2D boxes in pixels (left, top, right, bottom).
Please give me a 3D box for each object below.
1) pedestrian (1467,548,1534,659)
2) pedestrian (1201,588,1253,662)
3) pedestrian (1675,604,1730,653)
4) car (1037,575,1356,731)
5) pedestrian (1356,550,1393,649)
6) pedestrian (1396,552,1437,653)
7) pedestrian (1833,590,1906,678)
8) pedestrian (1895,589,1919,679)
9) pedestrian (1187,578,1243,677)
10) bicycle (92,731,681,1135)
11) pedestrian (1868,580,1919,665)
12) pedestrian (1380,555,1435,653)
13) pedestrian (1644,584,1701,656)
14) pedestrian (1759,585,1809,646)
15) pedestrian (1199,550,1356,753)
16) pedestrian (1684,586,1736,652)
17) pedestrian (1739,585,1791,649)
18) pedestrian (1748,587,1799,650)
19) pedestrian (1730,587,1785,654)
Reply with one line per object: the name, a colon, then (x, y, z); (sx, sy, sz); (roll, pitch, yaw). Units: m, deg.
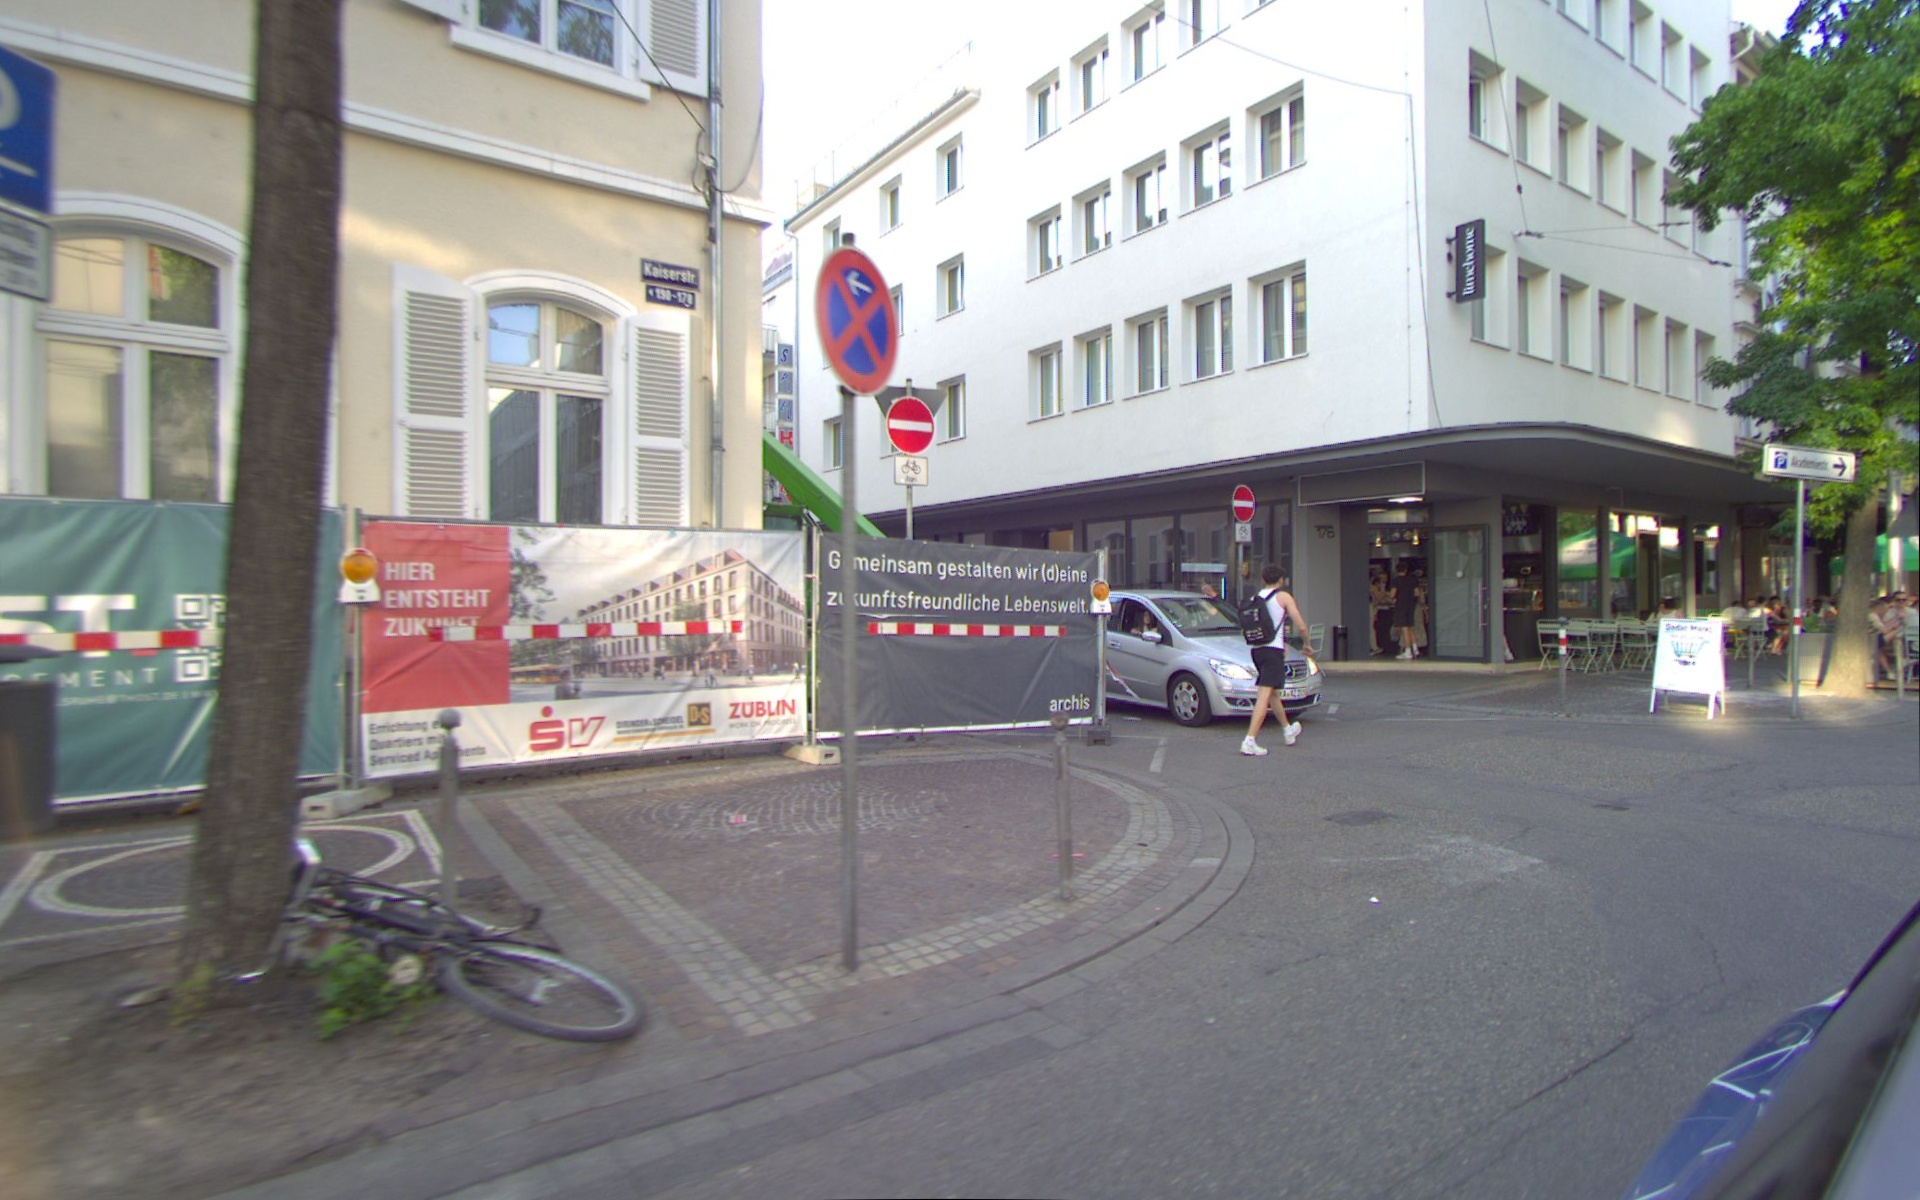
pedestrian: (9.673, 0.053, 18.128); (0.785, 1.934, 0.729); (0, 0, -22)
pedestrian: (4.948, 0.456, 18.789); (0.703, 1.346, 0.624); (0, 0, -34)
pedestrian: (14.745, 0.564, 20.107); (0.612, 0.944, 0.717); (0, 0, -34)
car: (2.844, 0.560, 13.054); (1.829, 1.628, 3.947); (-2, 1, -28)
pedestrian: (8.254, -0.012, 20.139); (0.566, 1.934, 0.715); (0, -1, 33)
pedestrian: (8.944, 0.050, 19.831); (0.717, 1.934, 0.565); (0, -1, 26)
pedestrian: (14.315, 0.512, 15.933); (0.612, 1.346, 0.717); (0, 0, -34)
pedestrian: (14.710, 0.513, 15.301); (0.612, 1.346, 0.717); (0, 0, -34)
pedestrian: (4.379, 0.460, 17.378); (0.702, 1.657, 0.625); (0, 0, -17)
bicycle: (-1.882, 1.042, 3.810); (1.531, 0.757, 1.761); (0, 2, -18)
pedestrian: (15.308, 0.350, 16.426); (0.612, 1.346, 0.717); (0, 0, -34)
pedestrian: (8.304, 0.073, 18.804); (0.702, 1.789, 0.625); (0, 0, -8)
pedestrian: (13.634, 0.366, 19.366); (0.612, 1.346, 0.717); (0, 0, -34)
pedestrian: (18.587, 0.341, 22.832); (0.612, 1.346, 0.717); (0, 0, -34)
pedestrian: (3.100, 0.461, 9.911); (1.049, 1.838, 0.947); (-2, 0, -27)
pedestrian: (15.830, 0.391, 21.374); (0.612, 1.346, 0.717); (0, 0, -34)
pedestrian: (17.220, 0.356, 21.655); (0.612, 1.346, 0.717); (0, 0, -34)
pedestrian: (17.866, 0.403, 22.228); (0.612, 1.346, 0.717); (0, 0, -34)
pedestrian: (16.327, 0.409, 20.725); (0.612, 1.346, 0.717); (0, 0, -34)
